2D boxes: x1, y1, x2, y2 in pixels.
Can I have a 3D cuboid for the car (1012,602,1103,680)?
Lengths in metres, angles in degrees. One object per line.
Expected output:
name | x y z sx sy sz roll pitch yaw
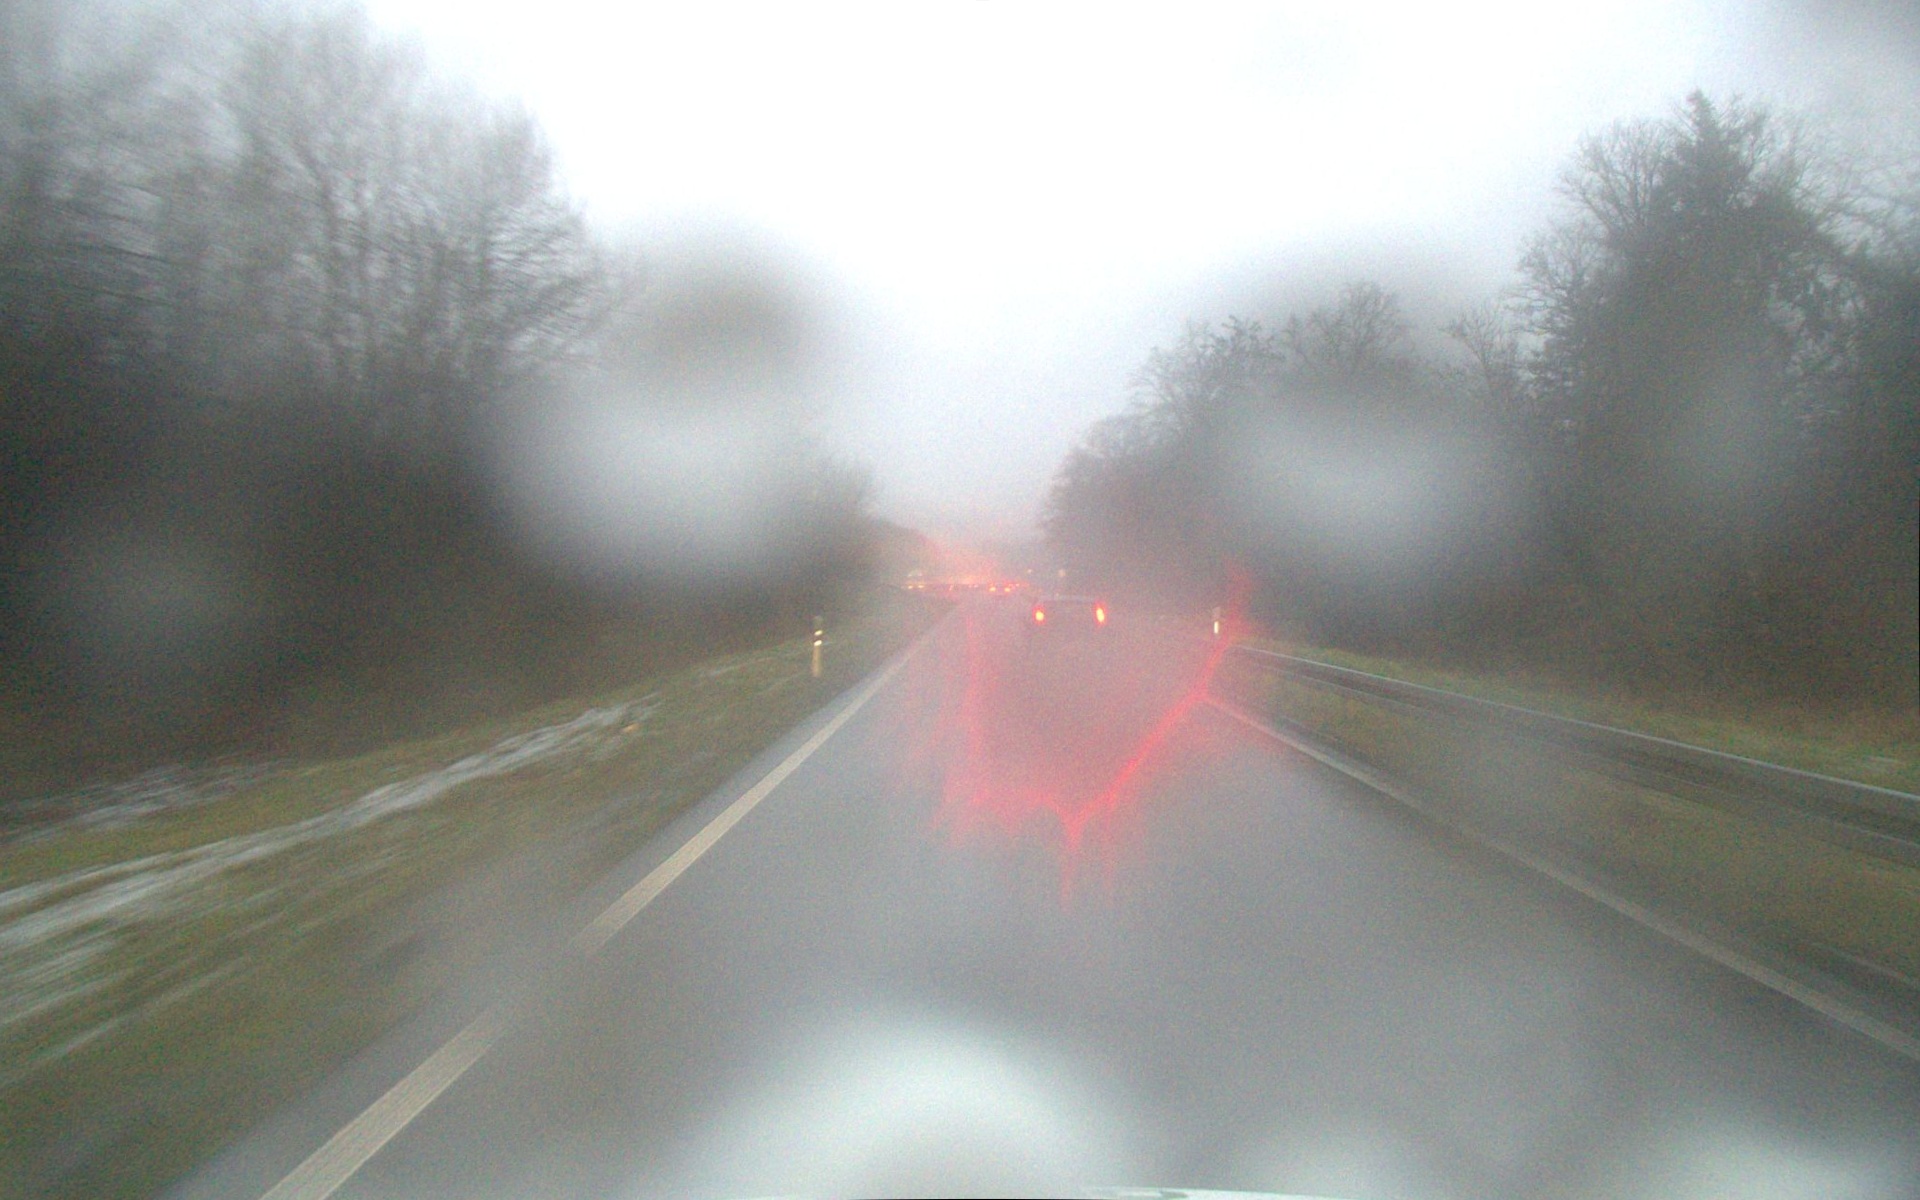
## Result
car | 1.979 0.778 32.969 1.695 1.454 3.767 1 0 5
